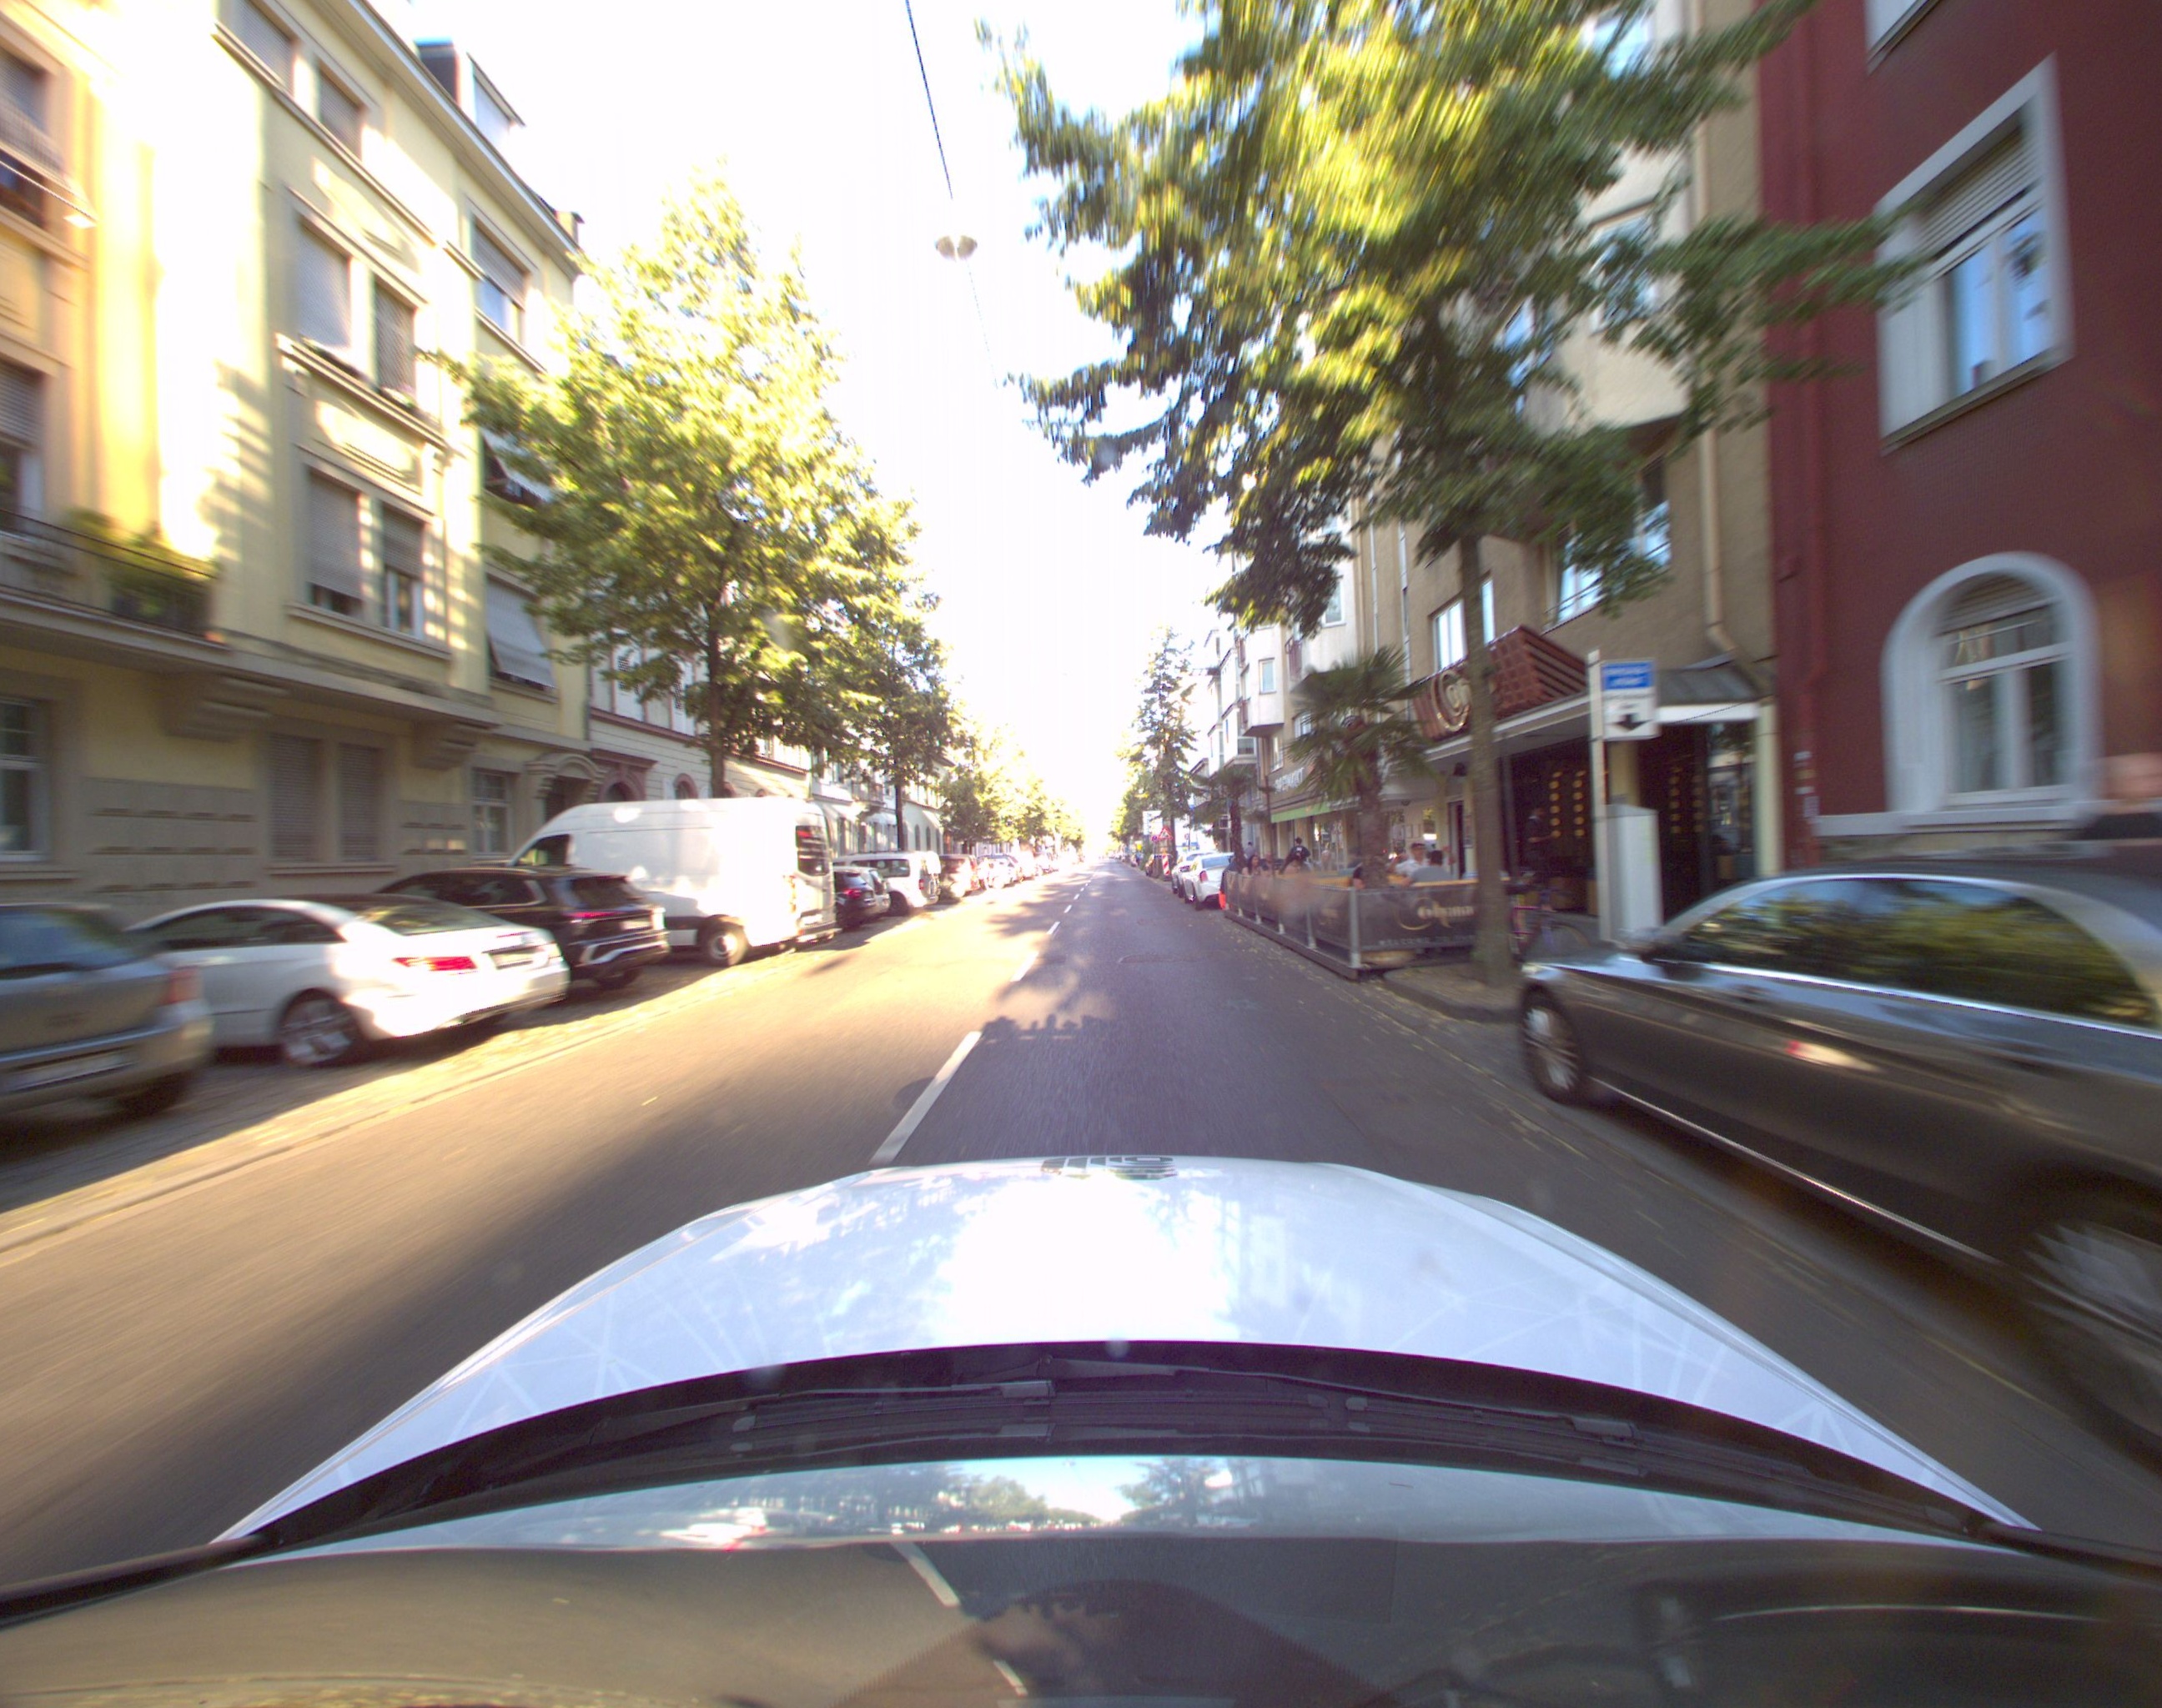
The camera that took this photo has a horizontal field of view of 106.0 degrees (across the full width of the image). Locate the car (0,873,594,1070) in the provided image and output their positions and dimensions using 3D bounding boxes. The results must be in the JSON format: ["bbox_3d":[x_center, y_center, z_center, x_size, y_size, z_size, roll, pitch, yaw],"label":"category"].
[{"bbox_3d":[-7.132,0.976,7.485,4.197,1.506,1.793,-1,0,1],"label":"car"}]

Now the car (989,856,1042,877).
[{"bbox_3d":[-5.143,0.995,64.541,3.905,1.501,1.907,-1,0,4],"label":"car"}]

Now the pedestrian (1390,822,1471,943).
[{"bbox_3d":[4.914,0.385,11.497,0.705,1.598,0.795,-4,0,2],"label":"pedestrian"}]

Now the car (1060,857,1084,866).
[{"bbox_3d":[-1.734,1.420,158.886,4.425,1.568,1.920,-1,-1,2],"label":"car"}]

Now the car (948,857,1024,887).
[{"bbox_3d":[-5.357,1.019,46.437,4.023,1.483,1.963,-2,0,1],"label":"car"}]

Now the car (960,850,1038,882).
[{"bbox_3d":[-5.417,0.805,54.282,4.852,1.908,1.974,-2,0,1],"label":"car"}]

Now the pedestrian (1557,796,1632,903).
[{"bbox_3d":[9.519,-0.086,15.138,0.795,1.883,0.879,-3,1,4],"label":"pedestrian"}]

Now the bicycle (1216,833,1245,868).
[{"bbox_3d":[5.864,-0.128,32.104,0.772,1.262,2.052,-4,0,3],"label":"bicycle"}]

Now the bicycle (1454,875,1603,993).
[{"bbox_3d":[4.331,0.724,8.018,0.384,0.983,1.709,-2,0,-4],"label":"bicycle"}]

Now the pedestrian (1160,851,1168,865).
[{"bbox_3d":[9.557,0.499,93.728,0.656,1.562,0.702,-4,0,2],"label":"pedestrian"}]

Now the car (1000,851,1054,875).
[{"bbox_3d":[-4.760,0.777,71.674,4.466,1.976,2.069,-2,0,2],"label":"car"}]

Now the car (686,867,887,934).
[{"bbox_3d":[-6.713,1.048,18.879,3.974,1.404,1.749,-1,-1,0],"label":"car"}]

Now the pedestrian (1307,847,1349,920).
[{"bbox_3d":[4.905,0.580,16.186,0.575,1.384,0.603,-4,-1,2],"label":"pedestrian"}]

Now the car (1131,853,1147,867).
[{"bbox_3d":[6.856,0.714,96.446,1.680,1.575,4.015,-5,0,2],"label":"car"}]

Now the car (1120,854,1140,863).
[{"bbox_3d":[9.150,0.873,152.822,1.654,1.588,3.846,-2,0,44],"label":"car"}]

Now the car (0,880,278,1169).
[{"bbox_3d":[-7.463,0.959,4.968,3.391,1.510,1.849,-1,0,5],"label":"car"}]

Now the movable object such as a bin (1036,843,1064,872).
[{"bbox_3d":[-3.351,0.327,88.405,2.615,2.969,5.305,-2,0,2],"label":"movable object such as a bin"}]

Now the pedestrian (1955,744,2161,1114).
[{"bbox_3d":[5.040,0.332,4.040,0.622,1.677,0.641,-3,0,2],"label":"pedestrian"}]

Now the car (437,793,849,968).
[{"bbox_3d":[-7.027,0.408,13.544,5.637,2.621,2.172,-1,0,1],"label":"car"}]

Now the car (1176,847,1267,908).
[{"bbox_3d":[4.015,0.624,24.068,1.835,1.480,5.192,-5,0,2],"label":"car"}]

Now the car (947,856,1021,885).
[{"bbox_3d":[-5.785,1.004,48.915,4.019,1.555,1.967,-2,0,4],"label":"car"}]

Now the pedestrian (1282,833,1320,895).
[{"bbox_3d":[6.228,0.277,23.083,0.785,1.704,0.701,-3,0,1],"label":"pedestrian"}]

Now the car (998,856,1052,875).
[{"bbox_3d":[-4.623,0.926,67.575,4.317,1.501,1.840,-1,0,-4],"label":"car"}]

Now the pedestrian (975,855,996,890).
[{"bbox_3d":[-4.607,0.901,39.457,0.824,1.638,0.828,-3,0,2],"label":"pedestrian"}]

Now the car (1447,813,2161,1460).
[{"bbox_3d":[3.454,0.624,3.429,1.767,1.440,5.005,-5,0,4],"label":"car"}]

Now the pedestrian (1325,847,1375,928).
[{"bbox_3d":[4.798,0.585,14.543,0.575,1.384,0.718,-4,-1,2],"label":"pedestrian"}]

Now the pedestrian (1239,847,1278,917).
[{"bbox_3d":[3.549,0.548,16.313,0.575,1.319,0.704,-4,-1,2],"label":"pedestrian"}]

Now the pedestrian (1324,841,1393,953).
[{"bbox_3d":[3.900,0.582,11.507,0.629,1.485,0.795,-4,0,2],"label":"pedestrian"}]

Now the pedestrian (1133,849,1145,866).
[{"bbox_3d":[6.430,0.407,90.502,1.013,1.825,0.778,-4,0,-8],"label":"pedestrian"}]

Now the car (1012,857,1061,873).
[{"bbox_3d":[-4.340,1.049,80.157,4.573,1.470,1.895,-1,0,4],"label":"car"}]

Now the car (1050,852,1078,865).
[{"bbox_3d":[-2.779,0.765,134.628,4.555,1.962,1.991,-1,-1,1],"label":"car"}]

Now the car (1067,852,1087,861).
[{"bbox_3d":[-0.935,0.580,182.795,4.425,1.759,1.920,-1,-1,2],"label":"car"}]

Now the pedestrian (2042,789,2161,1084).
[{"bbox_3d":[5.728,0.399,4.231,0.622,1.488,0.641,-3,0,2],"label":"pedestrian"}]

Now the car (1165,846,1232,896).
[{"bbox_3d":[4.263,0.578,30.100,1.872,1.574,4.694,-5,0,2],"label":"car"}]

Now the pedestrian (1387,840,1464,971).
[{"bbox_3d":[4.074,0.591,9.666,0.575,1.462,0.603,-4,0,2],"label":"pedestrian"}]

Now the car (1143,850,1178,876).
[{"bbox_3d":[5.324,0.590,54.910,1.823,1.488,4.849,-4,0,0],"label":"car"}]

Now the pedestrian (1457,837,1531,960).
[{"bbox_3d":[4.712,0.499,9.312,0.545,1.345,0.438,-4,-1,2],"label":"pedestrian"}]

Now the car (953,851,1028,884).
[{"bbox_3d":[-5.676,0.824,51.559,4.411,1.870,1.895,-2,0,2],"label":"car"}]

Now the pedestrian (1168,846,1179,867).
[{"bbox_3d":[8.839,0.235,77.841,0.820,1.854,1.097,-4,0,0],"label":"pedestrian"}]

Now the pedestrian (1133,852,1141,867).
[{"bbox_3d":[6.448,0.652,93.257,0.677,1.754,0.823,-2,-1,-9],"label":"pedestrian"}]

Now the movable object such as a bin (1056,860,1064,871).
[{"bbox_3d":[-2.141,1.153,82.128,0.687,1.105,0.884,-3,0,4],"label":"movable object such as a bin"}]

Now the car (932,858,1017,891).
[{"bbox_3d":[-5.364,1.014,41.362,4.046,1.461,1.685,-2,0,-1],"label":"car"}]

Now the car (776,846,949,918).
[{"bbox_3d":[-6.395,0.800,24.158,4.480,1.953,1.920,-2,0,3],"label":"car"}]

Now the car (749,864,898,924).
[{"bbox_3d":[-6.728,1.028,21.543,3.360,1.467,1.712,-1,0,-2],"label":"car"}]

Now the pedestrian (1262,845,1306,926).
[{"bbox_3d":[3.635,0.559,14.614,0.575,1.384,0.603,-4,-1,2],"label":"pedestrian"}]

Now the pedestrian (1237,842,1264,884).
[{"bbox_3d":[7.415,0.385,35.612,0.853,1.794,0.996,-3,0,-2],"label":"pedestrian"}]

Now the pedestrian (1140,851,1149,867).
[{"bbox_3d":[7.280,0.594,92.945,0.657,1.700,0.660,-4,-1,-42],"label":"pedestrian"}]

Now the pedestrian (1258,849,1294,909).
[{"bbox_3d":[4.273,0.539,17.889,0.575,1.244,0.603,-4,-1,2],"label":"pedestrian"}]

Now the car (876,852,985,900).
[{"bbox_3d":[-6.317,0.900,34.407,4.120,1.806,1.808,-2,0,3],"label":"car"}]

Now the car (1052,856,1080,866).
[{"bbox_3d":[-2.583,1.192,137.323,4.553,1.698,2.061,-1,-1,2],"label":"car"}]

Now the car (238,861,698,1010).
[{"bbox_3d":[-7.312,0.919,10.051,4.196,1.600,1.977,-1,0,2],"label":"car"}]

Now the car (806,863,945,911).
[{"bbox_3d":[-6.751,1.076,27.049,4.135,1.439,1.595,-2,0,3],"label":"car"}]

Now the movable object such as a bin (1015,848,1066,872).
[{"bbox_3d":[-4.577,0.687,92.821,2.285,2.495,5.789,-2,0,45],"label":"movable object such as a bin"}]

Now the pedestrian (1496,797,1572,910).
[{"bbox_3d":[7.934,-0.024,14.302,0.796,1.883,0.878,-3,1,2],"label":"pedestrian"}]

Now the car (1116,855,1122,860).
[{"bbox_3d":[10.840,0.989,232.437,1.507,1.276,3.306,-2,-1,3],"label":"car"}]
